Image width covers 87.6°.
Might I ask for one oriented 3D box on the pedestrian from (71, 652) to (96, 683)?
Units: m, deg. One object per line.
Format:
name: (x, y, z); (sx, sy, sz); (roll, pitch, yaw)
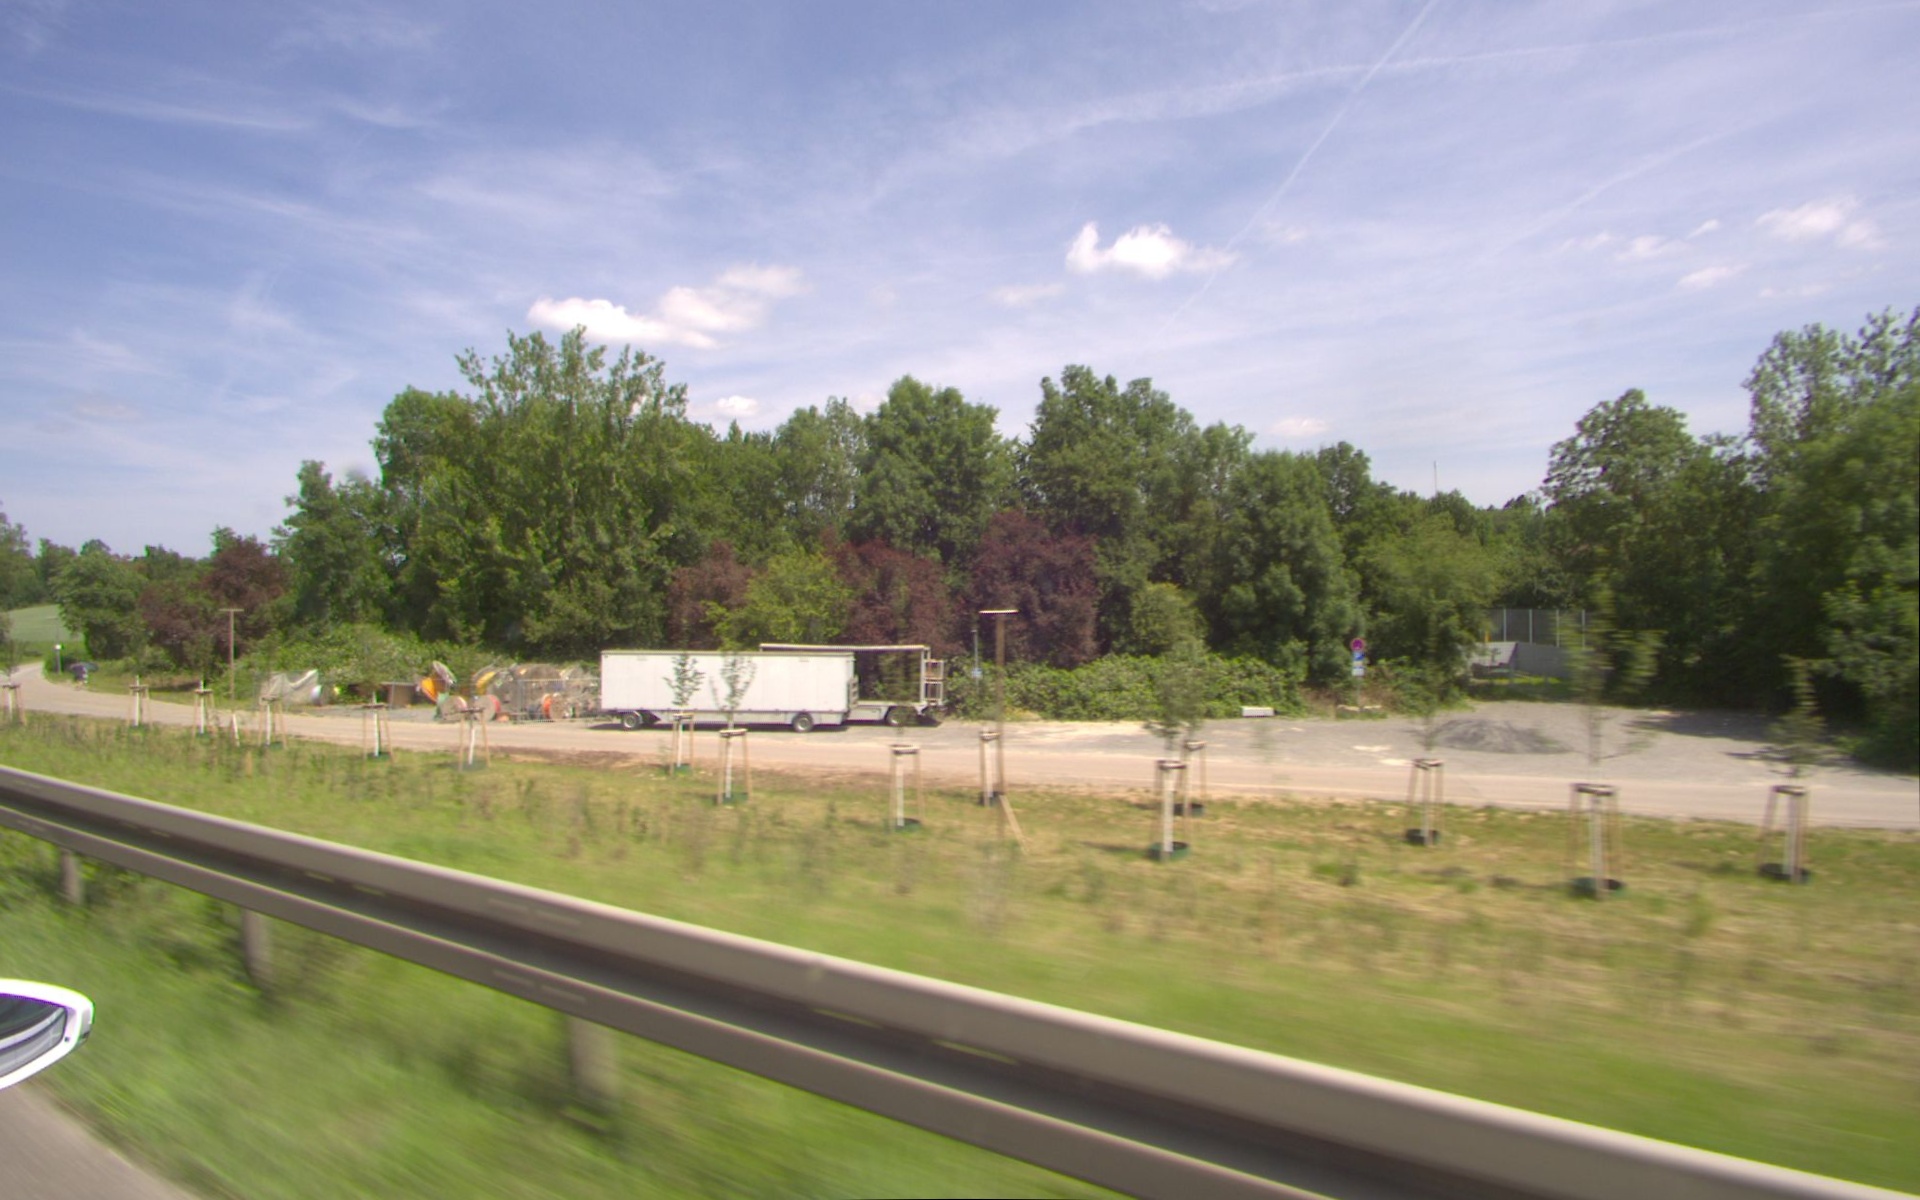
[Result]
pedestrian: (-54.425, 4.194, 62.174); (0.945, 1.836, 0.883); (0, 2, 32)

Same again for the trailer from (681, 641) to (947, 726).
trailer: (-6.538, 3.732, 45.795); (11.663, 3.652, 2.729); (0, -2, 4)

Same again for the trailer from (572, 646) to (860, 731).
trailer: (-10.297, 3.723, 42.908); (11.662, 3.371, 2.728); (0, -1, 1)
